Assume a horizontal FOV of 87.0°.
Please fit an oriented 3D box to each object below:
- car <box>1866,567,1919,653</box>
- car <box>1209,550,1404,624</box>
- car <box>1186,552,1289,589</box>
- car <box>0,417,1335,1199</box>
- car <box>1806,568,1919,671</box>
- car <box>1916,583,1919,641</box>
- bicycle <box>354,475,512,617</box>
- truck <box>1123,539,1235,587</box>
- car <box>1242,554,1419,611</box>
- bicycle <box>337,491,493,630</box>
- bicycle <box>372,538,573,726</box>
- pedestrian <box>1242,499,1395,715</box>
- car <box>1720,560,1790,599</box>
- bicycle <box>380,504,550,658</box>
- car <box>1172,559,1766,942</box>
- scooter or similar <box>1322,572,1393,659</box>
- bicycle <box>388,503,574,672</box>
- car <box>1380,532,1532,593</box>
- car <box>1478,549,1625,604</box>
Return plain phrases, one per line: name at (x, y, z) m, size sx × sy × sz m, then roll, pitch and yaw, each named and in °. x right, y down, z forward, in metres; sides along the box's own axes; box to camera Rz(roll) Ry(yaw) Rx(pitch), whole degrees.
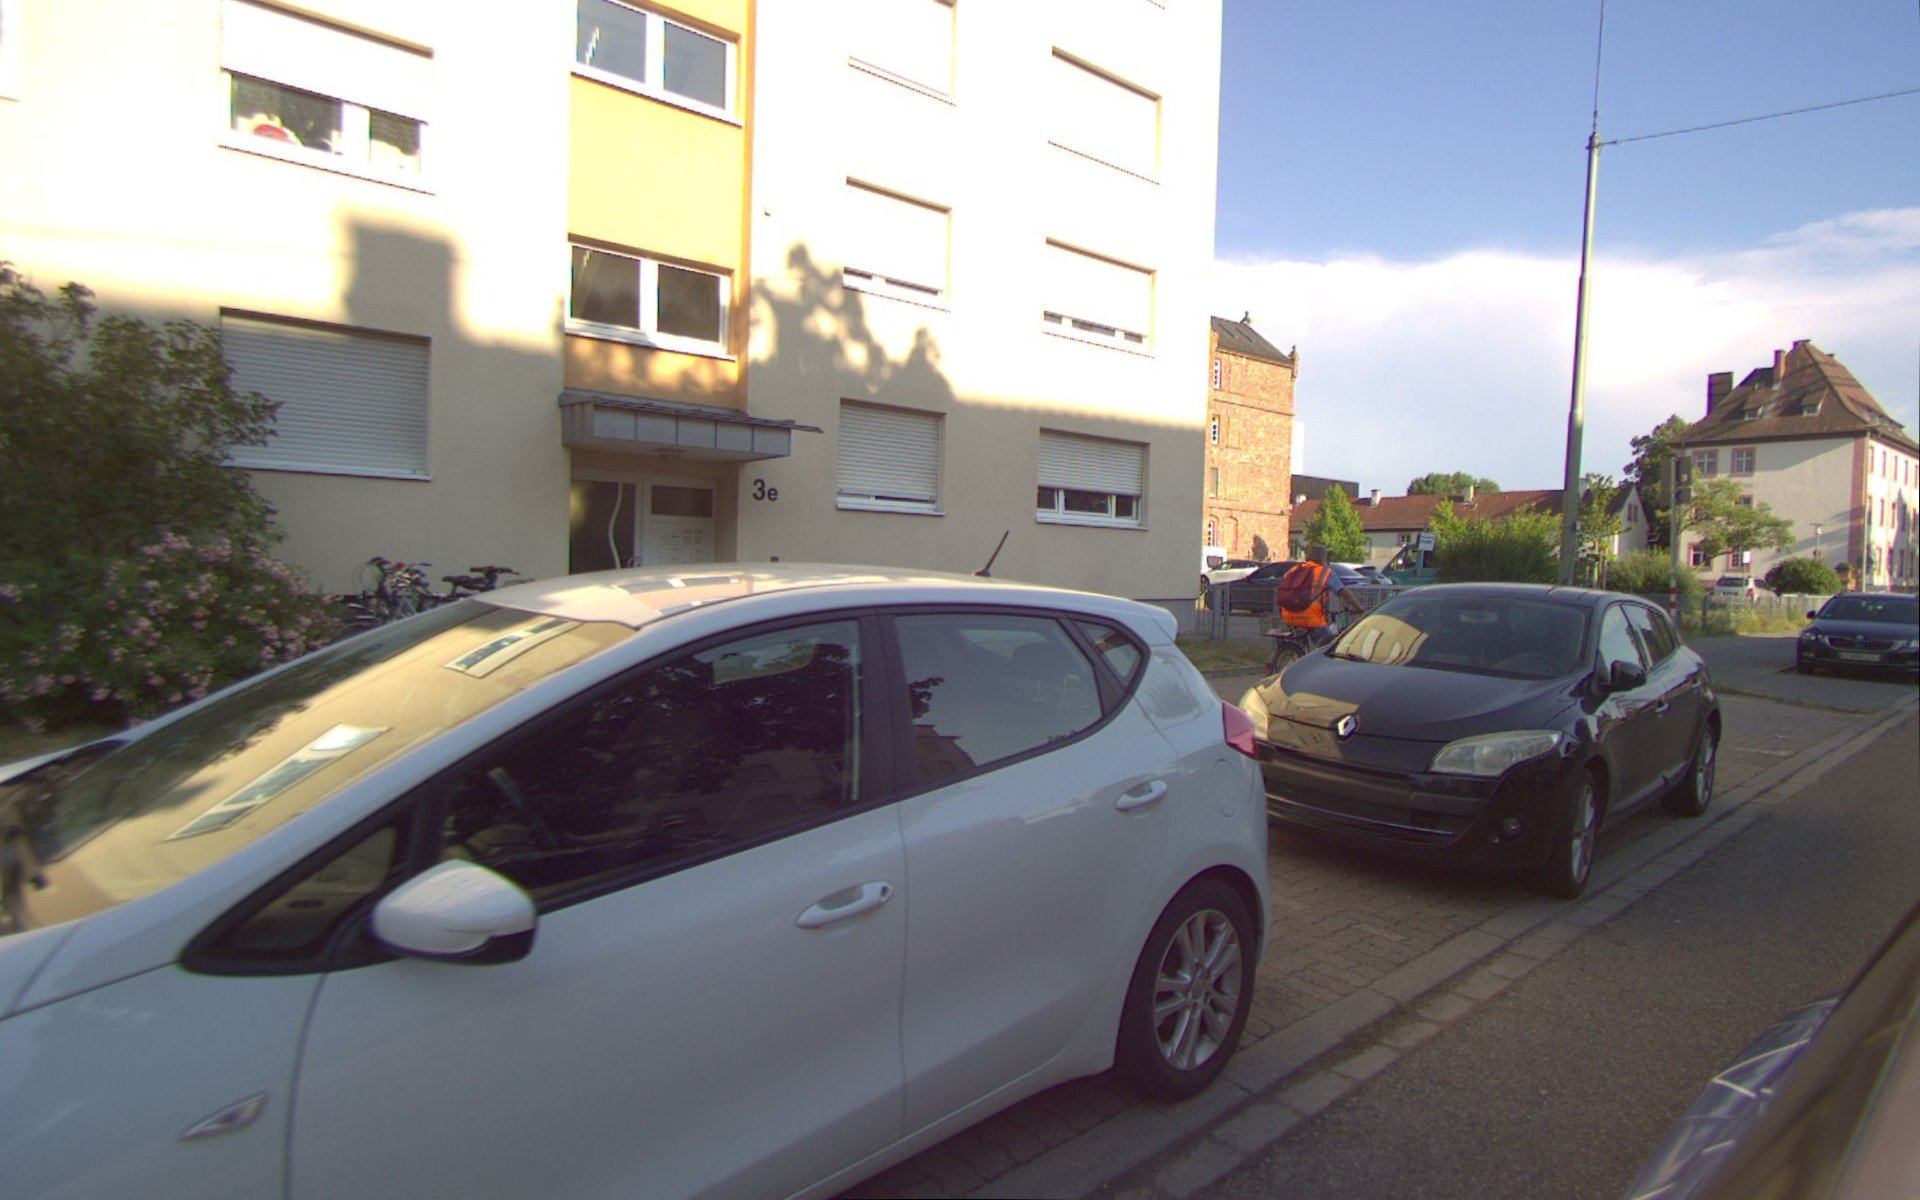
car at (22.296, 0.205, 22.873) m, size 4.499 × 1.800 × 1.907 m, roll -1°, pitch 4°, yaw -38°
car at (8.733, -0.409, 25.891) m, size 1.701 × 1.621 × 4.491 m, roll -1°, pitch 4°, yaw -37°
car at (12.669, -1.328, 46.421) m, size 1.701 × 1.621 × 4.489 m, roll -1°, pitch 1°, yaw -37°
car at (-0.910, 0.472, 2.561) m, size 3.931 × 1.526 × 1.776 m, roll -1°, pitch 5°, yaw -41°
car at (16.691, 0.272, 17.974) m, size 4.863 × 1.580 × 1.889 m, roll -1°, pitch 4°, yaw -43°
car at (25.985, 0.403, 26.074) m, size 3.891 × 1.454 × 1.653 m, roll 2°, pitch 1°, yaw -42°
bicycle at (-4.721, -0.471, 9.106) m, size 1.219 × 1.207 × 0.334 m, roll -1°, pitch 1°, yaw -41°
truck at (12.894, -2.135, 60.001) m, size 2.496 × 2.717 × 6.441 m, roll -1°, pitch 1°, yaw -37°
car at (10.294, -0.501, 28.450) m, size 1.701 × 1.473 × 4.489 m, roll -1°, pitch 1°, yaw -37°
bicycle at (-5.020, -0.356, 9.359) m, size 1.219 × 1.207 × 0.334 m, roll -1°, pitch 1°, yaw -41°
bicycle at (-3.376, 0.195, 7.076) m, size 0.333 × 1.207 × 1.221 m, roll 0°, pitch 0°, yaw 43°
pedestrian at (3.450, 0.049, 9.723) m, size 1.257 × 1.914 × 0.890 m, roll -1°, pitch 1°, yaw -41°
car at (35.869, -0.926, 45.650) m, size 3.928 × 1.682 × 1.657 m, roll -1°, pitch 1°, yaw -39°
bicycle at (-4.125, -0.155, 8.478) m, size 1.219 × 1.207 × 0.334 m, roll -1°, pitch -1°, yaw -41°
car at (3.409, 0.538, 6.279) m, size 4.544 × 1.525 × 1.801 m, roll -1°, pitch 3°, yaw -43°
scooter or similar at (5.786, 0.205, 14.710) m, size 1.219 × 1.205 × 0.334 m, roll -1°, pitch 7°, yaw -41°
bicycle at (-3.650, -0.094, 7.747) m, size 1.218 × 1.206 × 0.334 m, roll 1°, pitch 3°, yaw -38°
car at (15.942, -1.178, 32.672) m, size 1.965 × 1.816 × 3.995 m, roll -1°, pitch 1°, yaw -40°
car at (20.457, -0.812, 35.135) m, size 1.964 × 1.816 × 3.997 m, roll -1°, pitch 1°, yaw -38°
